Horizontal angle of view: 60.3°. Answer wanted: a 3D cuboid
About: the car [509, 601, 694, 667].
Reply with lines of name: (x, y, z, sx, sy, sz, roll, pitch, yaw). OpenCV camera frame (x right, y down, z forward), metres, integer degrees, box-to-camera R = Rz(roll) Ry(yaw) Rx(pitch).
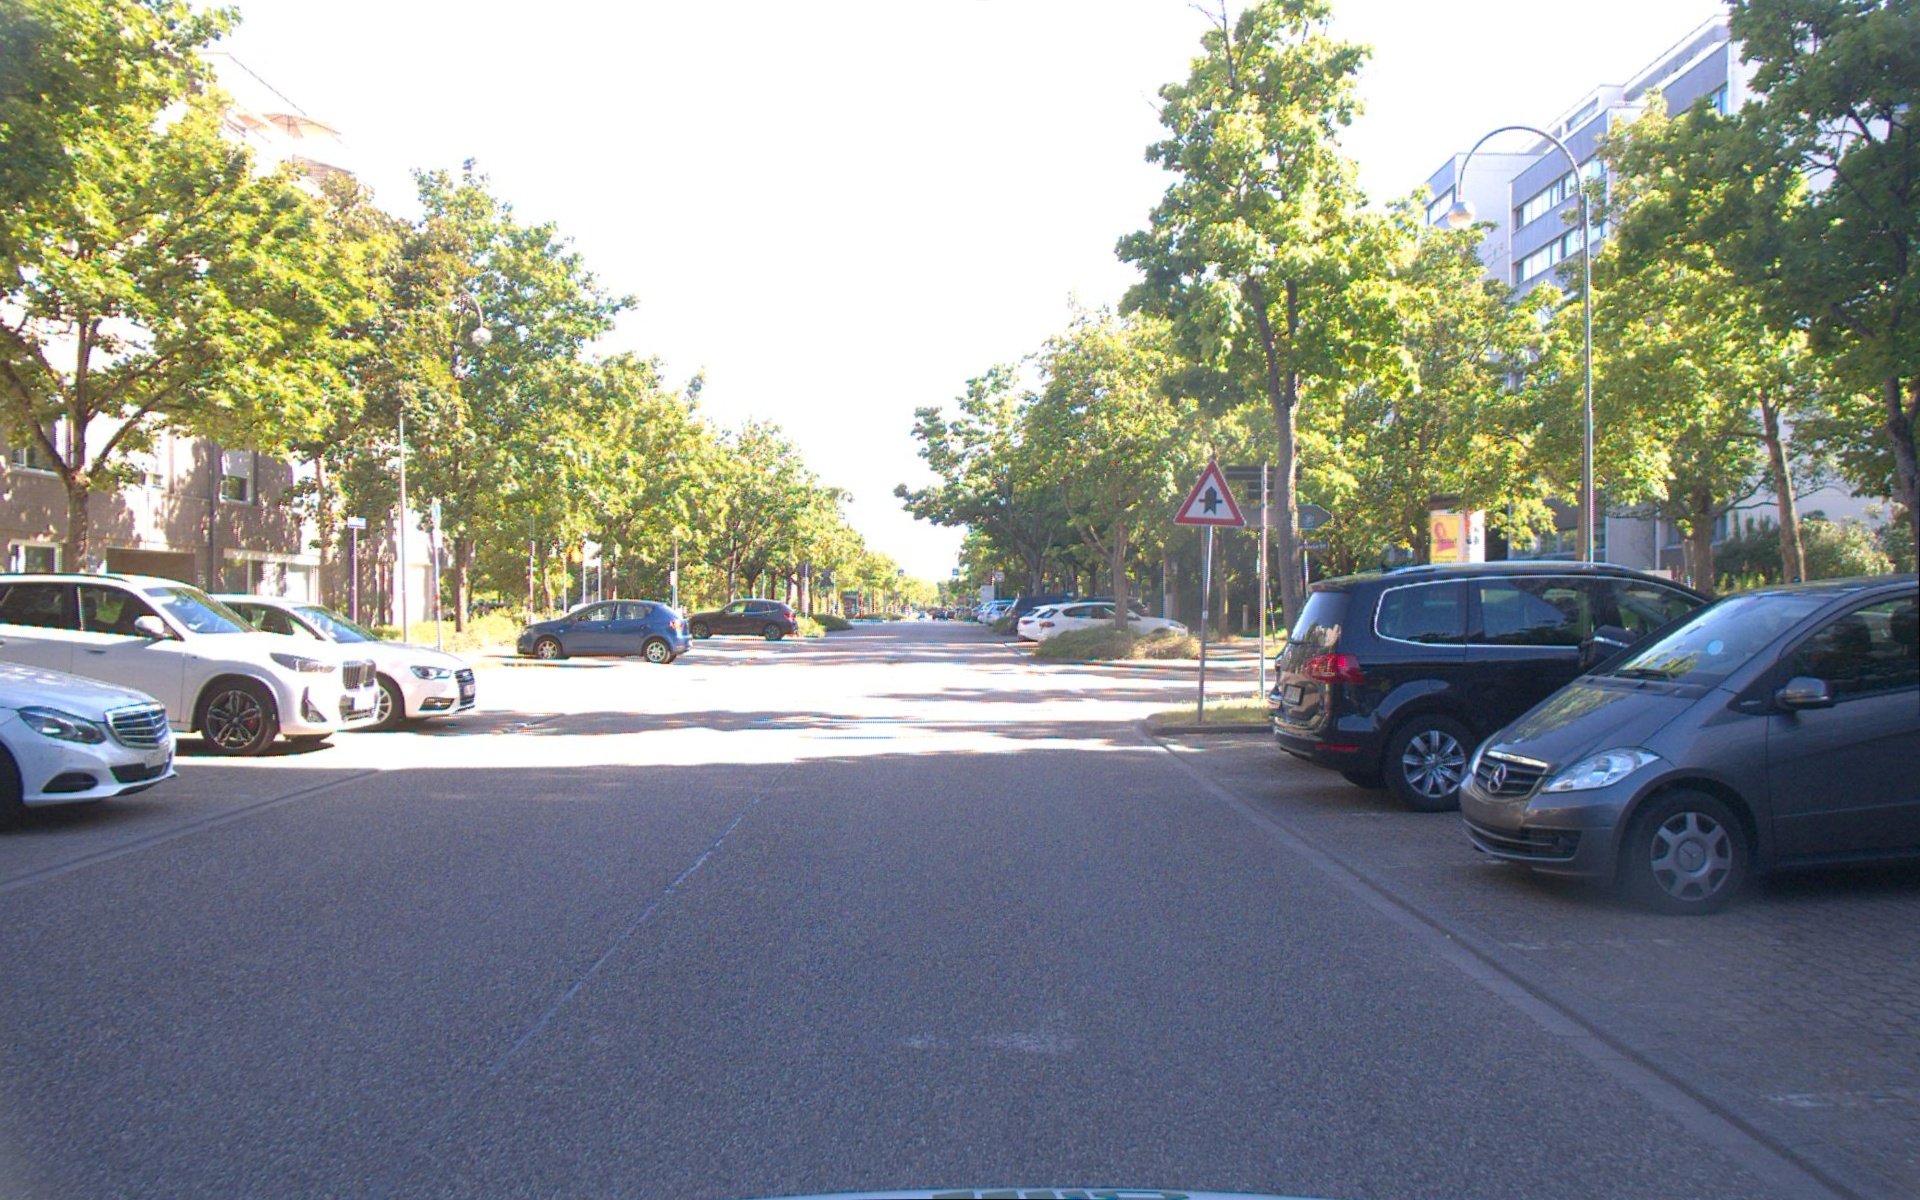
car: (-8.188, 0.776, 38.063, 3.909, 1.436, 1.815, 1, -1, -5)

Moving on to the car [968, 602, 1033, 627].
car: (2.720, 0.985, 111.645, 4.256, 1.515, 1.737, -2, 0, -3)

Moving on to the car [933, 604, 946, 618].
car: (-3.051, 1.688, 247.051, 1.953, 2.049, 3.999, 1, -1, 0)

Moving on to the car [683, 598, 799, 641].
car: (-8.256, 0.732, 62.650, 4.106, 1.547, 1.772, 1, -1, 0)

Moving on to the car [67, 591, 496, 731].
car: (-7.685, 0.674, 19.052, 4.172, 1.506, 1.799, 0, 0, -2)

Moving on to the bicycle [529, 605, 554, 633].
bicycle: (-16.499, 0.740, 65.204, 0.428, 1.066, 2.193, 1, -1, 0)

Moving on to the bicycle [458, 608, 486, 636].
bicycle: (-18.851, 0.841, 63.864, 0.428, 1.066, 2.193, 1, -1, 0)

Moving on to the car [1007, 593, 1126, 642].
car: (4.171, 0.678, 65.226, 4.493, 1.810, 2.000, -1, -1, -1)

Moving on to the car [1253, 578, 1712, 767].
car: (4.825, 0.629, 15.545, 3.759, 1.471, 1.591, -3, 2, -4)

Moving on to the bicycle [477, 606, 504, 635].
bicycle: (-18.043, 0.790, 63.605, 0.428, 1.066, 2.193, 1, -1, 0)

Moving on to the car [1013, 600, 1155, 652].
car: (3.947, 0.831, 53.155, 4.354, 1.572, 1.816, 1, -1, -4)

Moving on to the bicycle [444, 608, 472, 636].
bicycle: (-19.376, 0.843, 63.856, 0.428, 1.066, 2.193, 1, -1, 0)

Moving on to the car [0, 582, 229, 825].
car: (-7.542, 0.590, 11.040, 4.421, 1.477, 1.939, 2, 0, -5)

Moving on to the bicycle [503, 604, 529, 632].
bicycle: (-17.491, 0.702, 65.215, 0.428, 1.066, 2.193, 1, -1, 0)

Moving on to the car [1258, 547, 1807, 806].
car: (4.239, 0.552, 12.681, 3.596, 1.781, 1.724, -1, -1, 1)

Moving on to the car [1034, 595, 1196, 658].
car: (4.377, 0.739, 47.136, 4.339, 1.621, 1.835, -2, 0, -4)

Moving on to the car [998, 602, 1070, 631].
car: (4.158, 0.921, 92.962, 3.906, 1.476, 1.717, -2, 0, -1)

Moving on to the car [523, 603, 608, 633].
car: (-20.521, 0.935, 86.094, 3.993, 1.476, 1.625, -2, -1, 0)

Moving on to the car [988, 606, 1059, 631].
car: (3.772, 1.107, 97.790, 4.184, 1.453, 1.828, 0, -1, 4)

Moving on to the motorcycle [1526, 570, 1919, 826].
motorcycle: (5.069, 0.635, 11.088, 2.261, 1.607, 0.767, -1, -1, 0)

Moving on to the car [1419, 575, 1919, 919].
car: (4.646, 0.680, 8.898, 3.795, 1.592, 1.807, -1, -1, -6)

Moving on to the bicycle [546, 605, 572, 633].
bicycle: (-15.440, 0.736, 63.713, 0.428, 1.066, 2.193, 1, -1, 0)

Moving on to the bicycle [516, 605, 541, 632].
bicycle: (-17.007, 0.720, 65.205, 0.428, 1.066, 2.193, 1, -1, 0)

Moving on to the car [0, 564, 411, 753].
car: (-7.788, 0.534, 16.133, 4.139, 1.630, 1.952, 2, -1, -1)

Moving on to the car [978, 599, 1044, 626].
car: (3.500, 0.876, 114.360, 4.346, 1.676, 1.815, -3, 0, -3)
